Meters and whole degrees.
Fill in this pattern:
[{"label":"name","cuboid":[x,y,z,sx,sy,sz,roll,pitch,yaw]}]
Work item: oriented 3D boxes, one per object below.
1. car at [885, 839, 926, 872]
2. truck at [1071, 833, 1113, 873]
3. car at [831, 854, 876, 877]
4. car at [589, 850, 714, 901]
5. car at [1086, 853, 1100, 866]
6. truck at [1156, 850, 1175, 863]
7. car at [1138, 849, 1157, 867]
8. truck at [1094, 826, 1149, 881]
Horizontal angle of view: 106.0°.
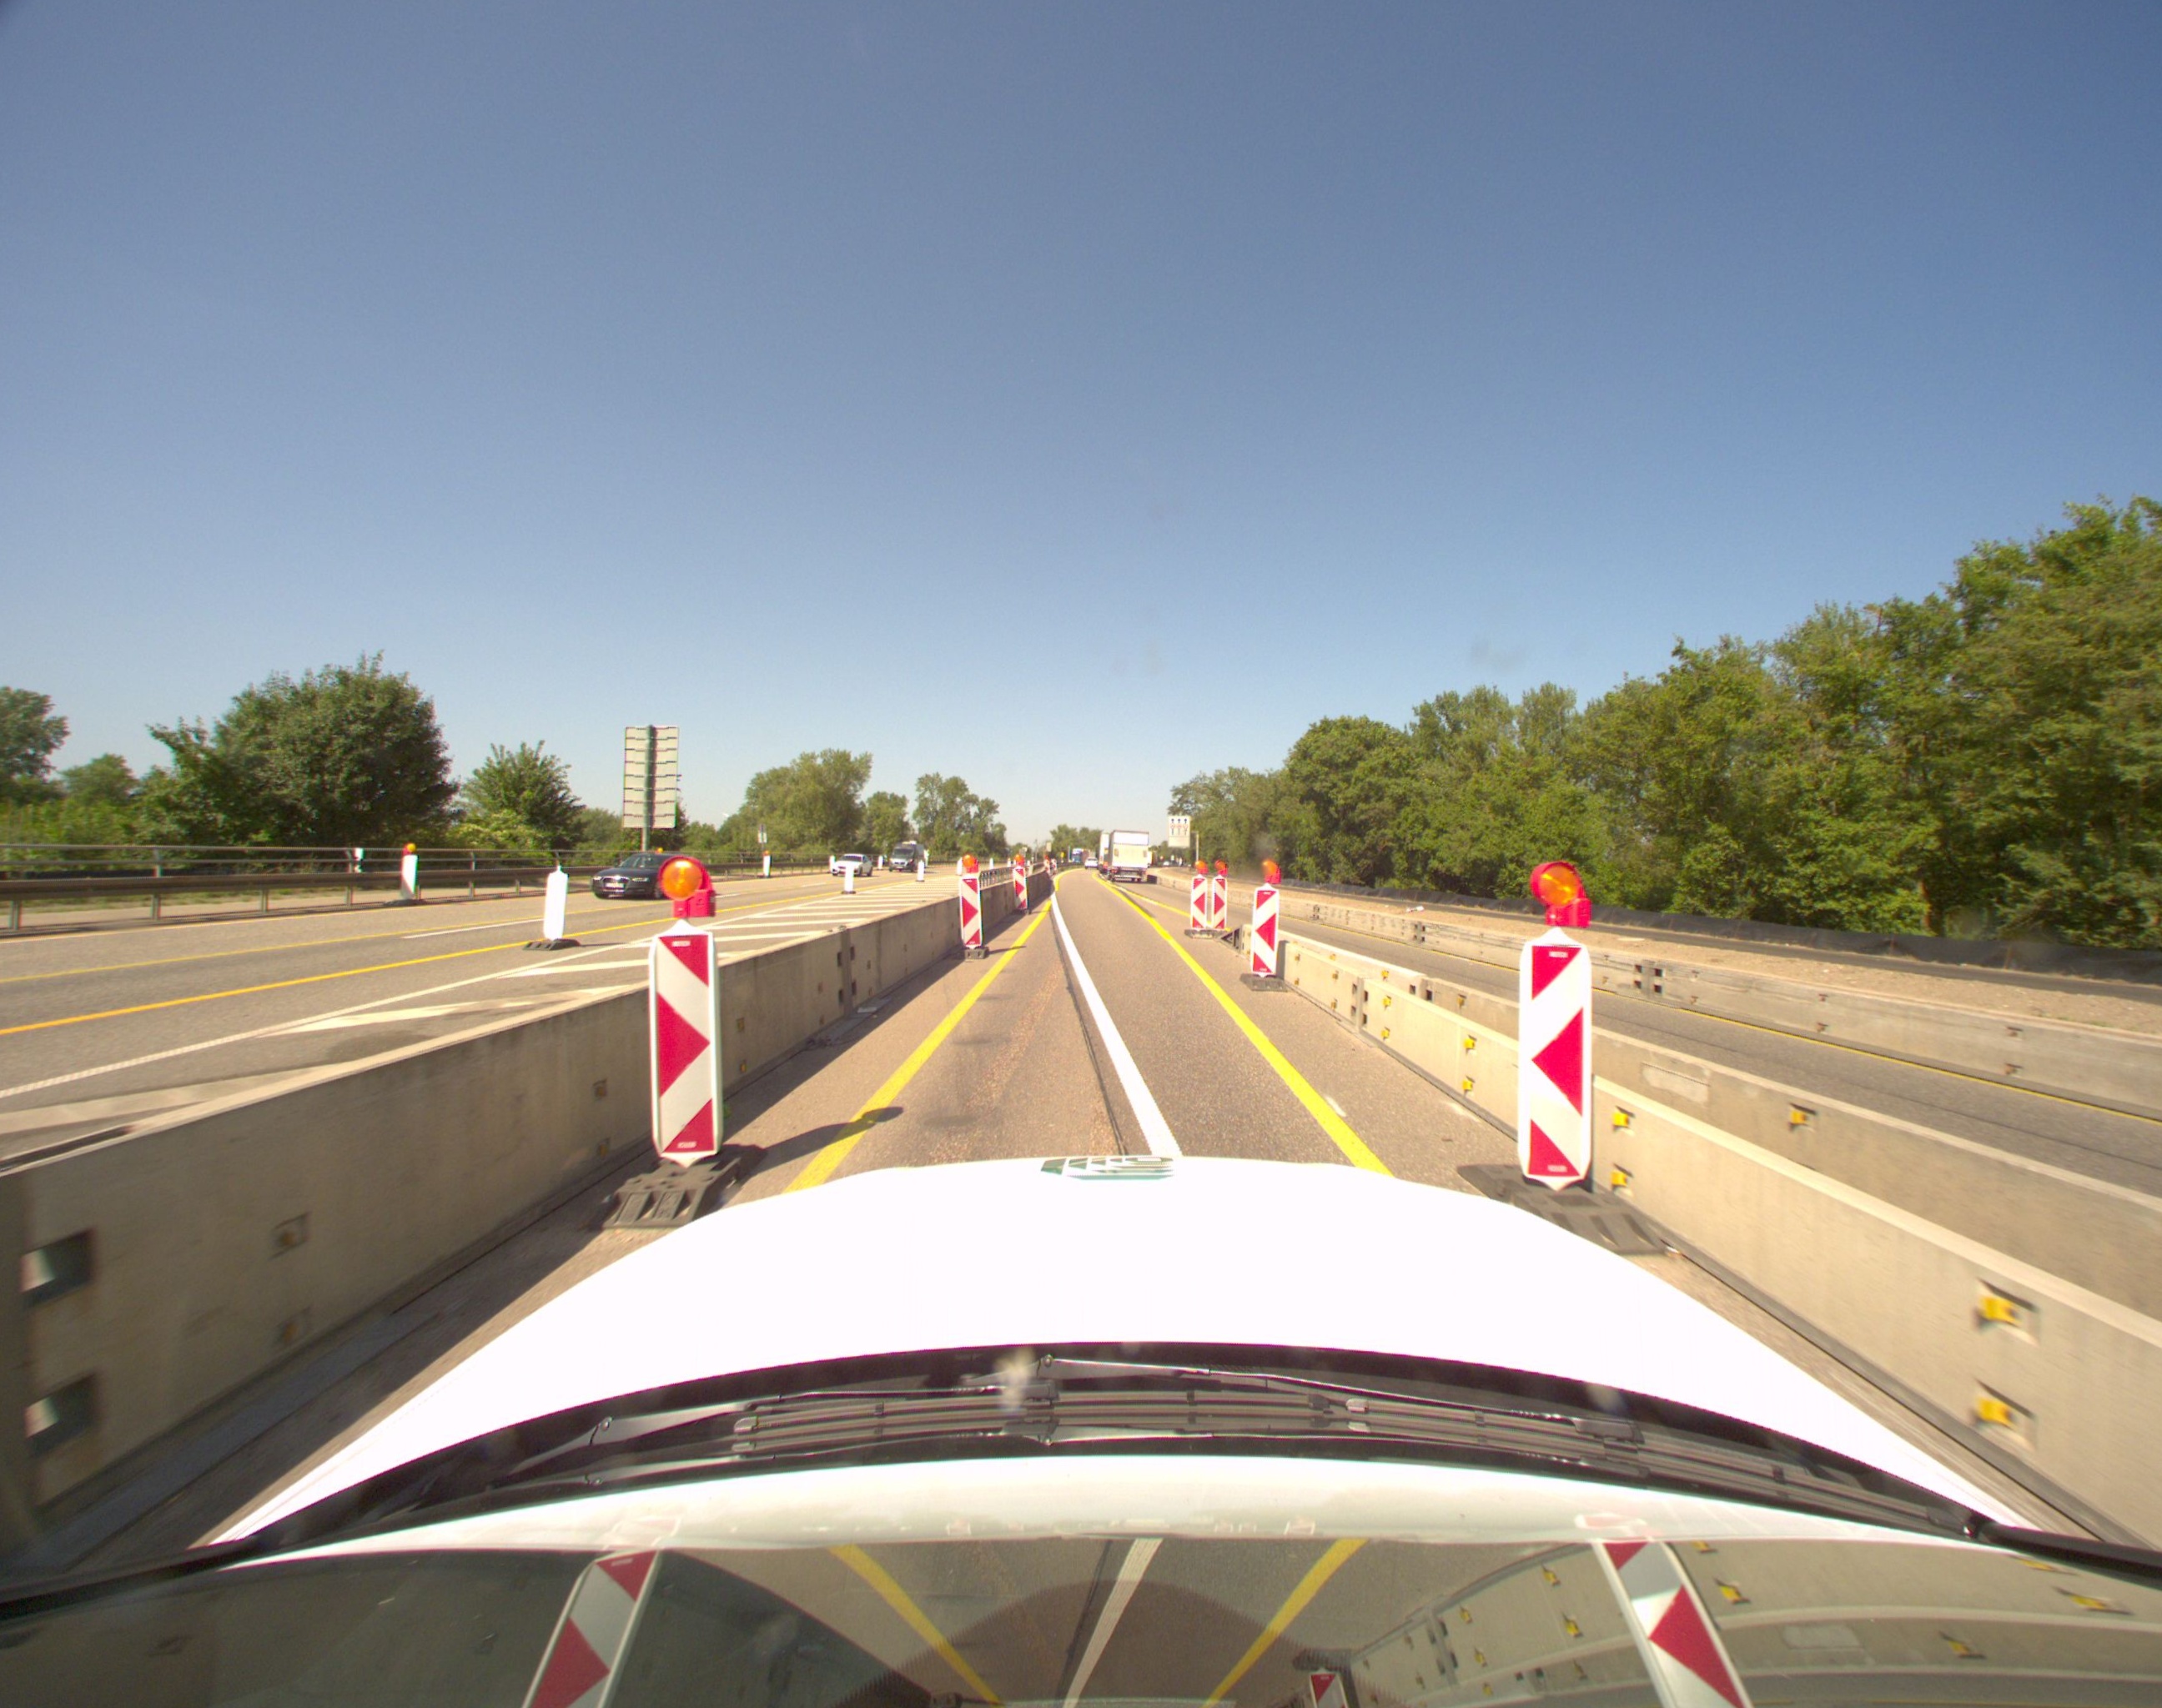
[{"label":"car","cuboid":[-14.938,0.111,69.770,2.138,2.660,5.546,2,0,1]},{"label":"truck","cuboid":[1.013,-0.104,80.223,3.384,3.774,7.218,0,0,-6]},{"label":"car","cuboid":[-14.780,0.715,53.118,1.714,1.397,4.516,2,0,-2]},{"label":"car","cuboid":[-13.624,0.622,26.166,1.733,1.476,4.640,1,0,-3]},{"label":"car","cuboid":[1.631,0.754,111.780,1.811,1.776,3.998,0,0,-1]},{"label":"truck","cuboid":[27.185,0.807,260.495,4.188,4.266,10.285,0,0,16]},{"label":"car","cuboid":[16.660,0.949,203.371,4.186,4.252,10.680,0,0,6]},{"label":"truck","cuboid":[2.643,-0.053,55.846,2.631,3.427,7.219,2,0,-6]}]
